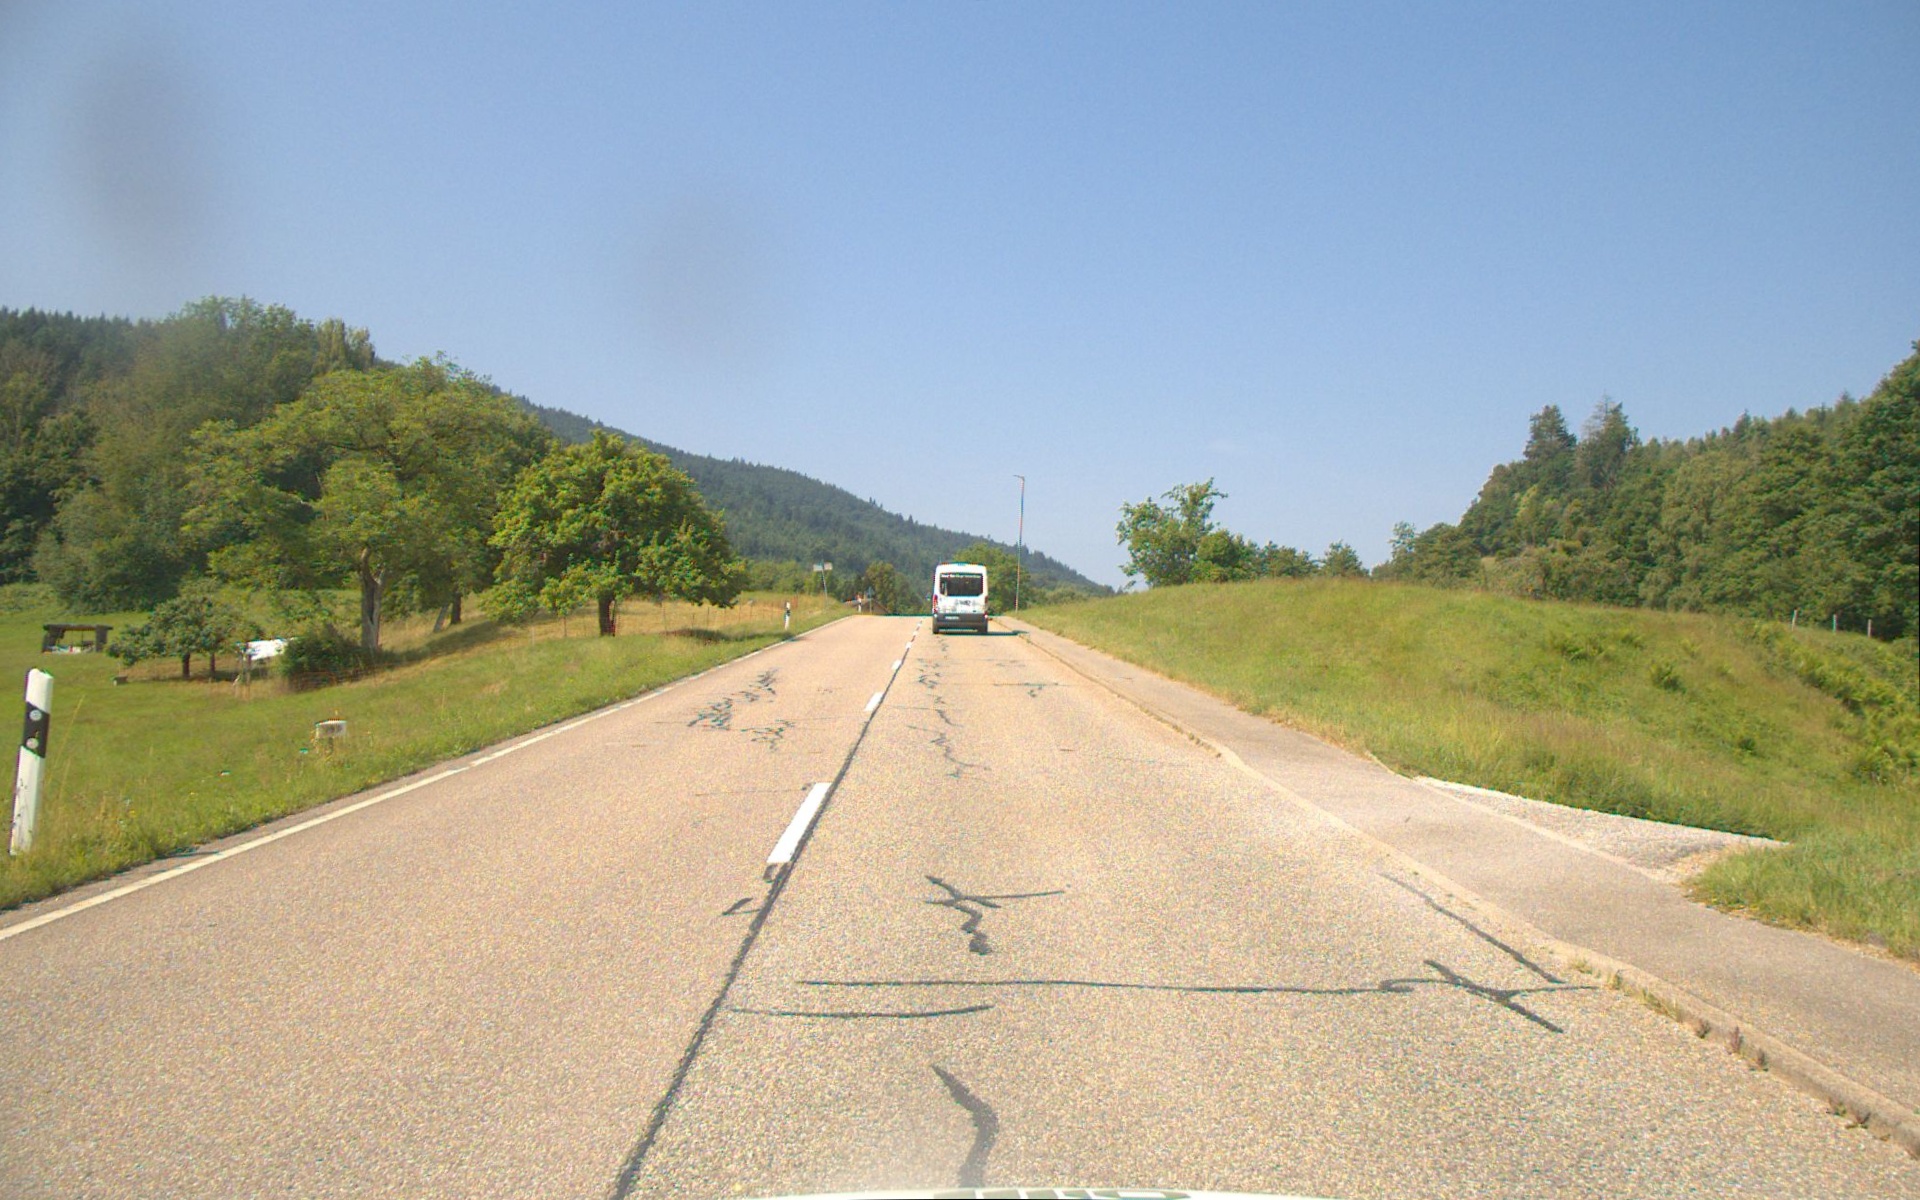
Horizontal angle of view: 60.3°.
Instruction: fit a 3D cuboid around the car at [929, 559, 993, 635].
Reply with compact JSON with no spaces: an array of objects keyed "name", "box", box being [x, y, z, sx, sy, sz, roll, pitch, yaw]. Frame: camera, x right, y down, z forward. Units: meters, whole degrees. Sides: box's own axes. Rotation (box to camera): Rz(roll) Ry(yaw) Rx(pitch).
[{"name":"car","box":[0.011,-0.044,60.433,2.177,2.570,4.983,-1,-2,-1]}]
